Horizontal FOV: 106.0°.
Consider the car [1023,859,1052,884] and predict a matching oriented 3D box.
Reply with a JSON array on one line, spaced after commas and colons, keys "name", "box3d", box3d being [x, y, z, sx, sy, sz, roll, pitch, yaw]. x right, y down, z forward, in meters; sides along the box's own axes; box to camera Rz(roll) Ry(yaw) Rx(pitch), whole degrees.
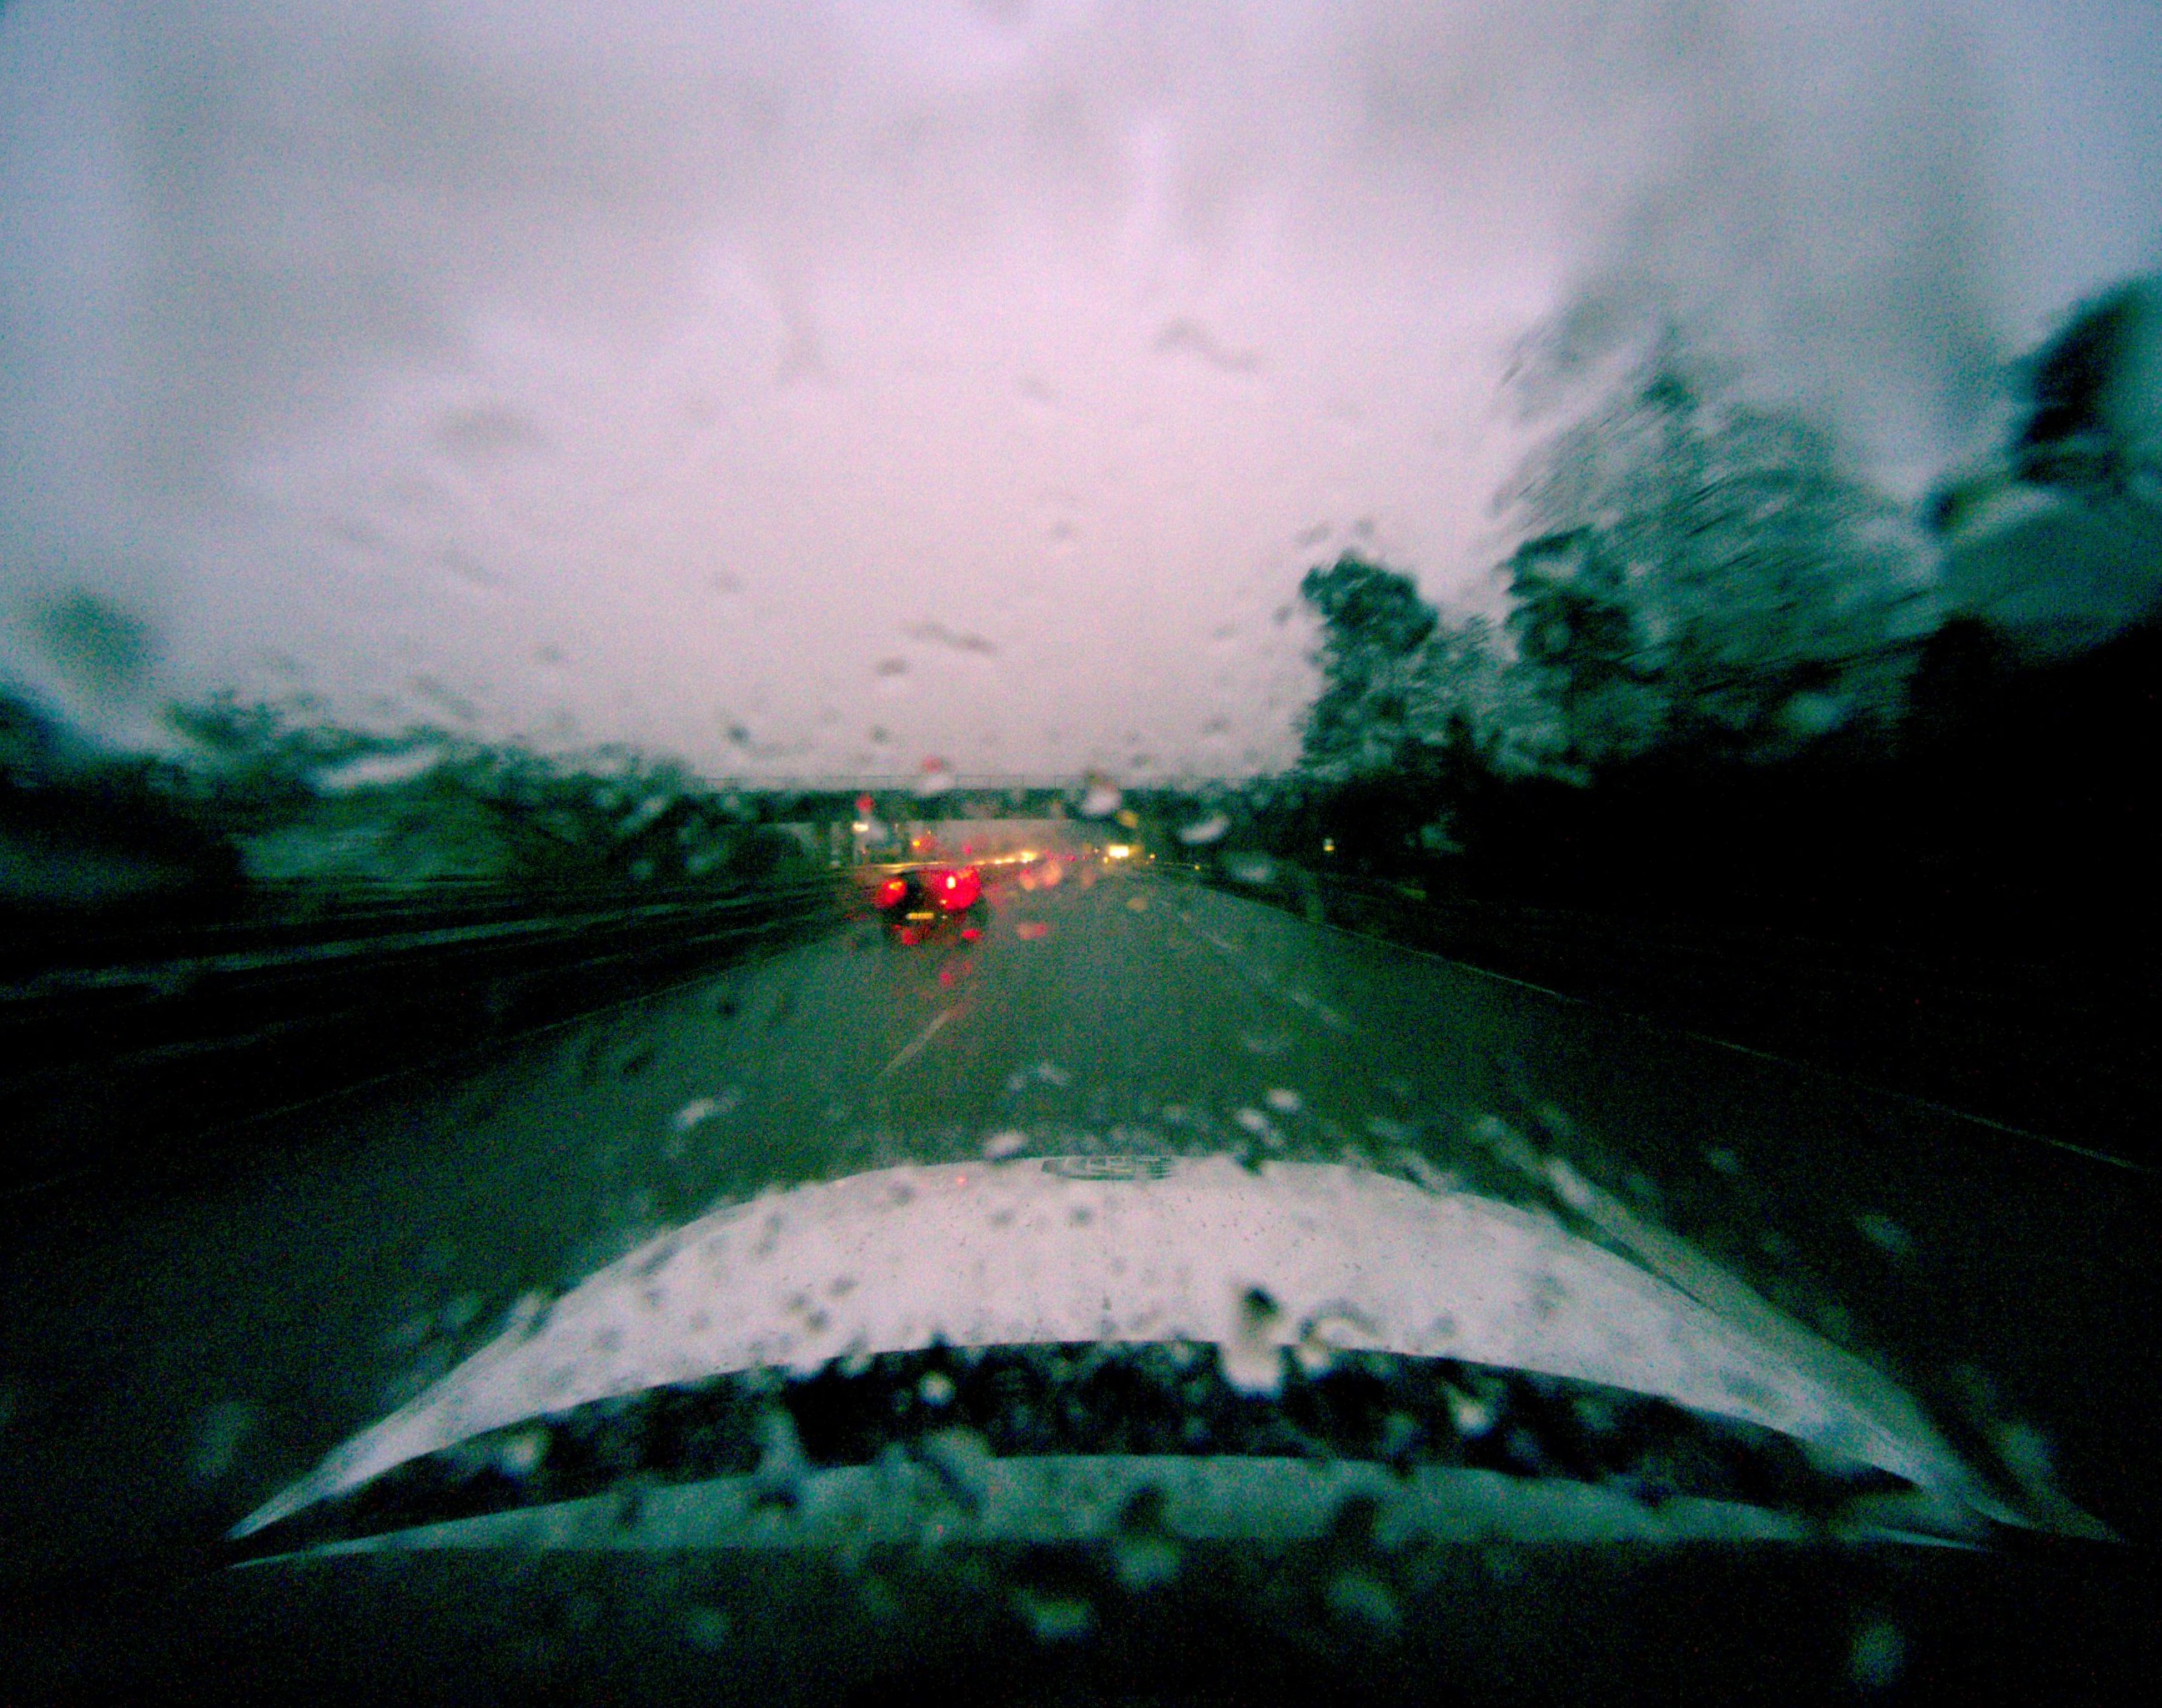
[{"name": "car", "box3d": [-2.826, 1.141, 53.667, 1.771, 1.534, 4.699, -1, 0, -2]}]

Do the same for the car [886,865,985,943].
[{"name": "car", "box3d": [-3.062, 1.007, 17.728, 1.523, 1.415, 3.478, 2, 0, -1]}]

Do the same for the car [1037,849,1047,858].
[{"name": "car", "box3d": [-9.435, -0.108, 196.377, 2.121, 2.120, 3.566, 1, 0, -7]}]
